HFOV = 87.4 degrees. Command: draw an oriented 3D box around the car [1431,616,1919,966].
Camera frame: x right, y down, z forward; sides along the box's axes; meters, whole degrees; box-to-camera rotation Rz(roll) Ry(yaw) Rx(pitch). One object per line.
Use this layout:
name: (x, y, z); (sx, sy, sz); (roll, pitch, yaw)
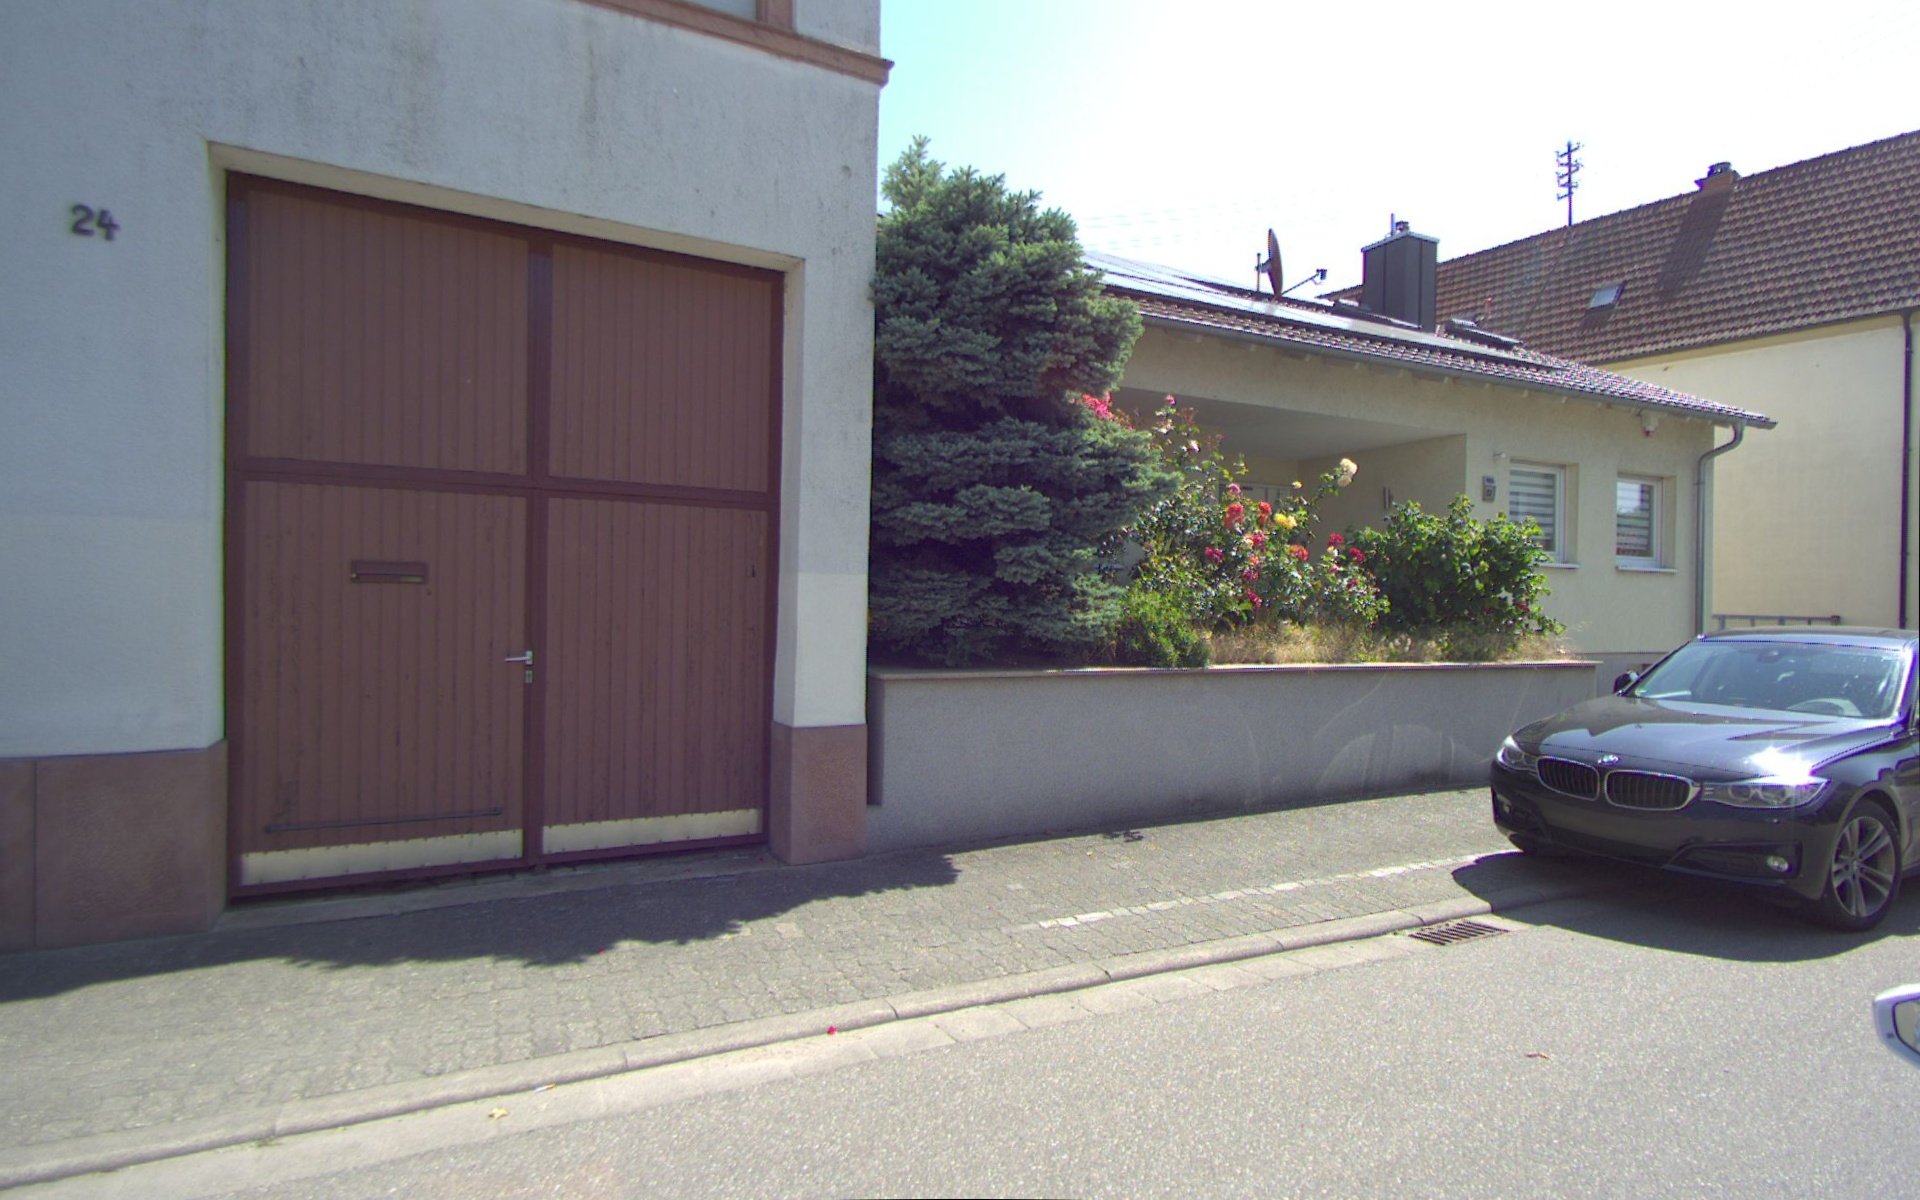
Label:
car: (5.383, 0.910, 6.424); (4.705, 1.547, 1.837); (1, 0, -28)
